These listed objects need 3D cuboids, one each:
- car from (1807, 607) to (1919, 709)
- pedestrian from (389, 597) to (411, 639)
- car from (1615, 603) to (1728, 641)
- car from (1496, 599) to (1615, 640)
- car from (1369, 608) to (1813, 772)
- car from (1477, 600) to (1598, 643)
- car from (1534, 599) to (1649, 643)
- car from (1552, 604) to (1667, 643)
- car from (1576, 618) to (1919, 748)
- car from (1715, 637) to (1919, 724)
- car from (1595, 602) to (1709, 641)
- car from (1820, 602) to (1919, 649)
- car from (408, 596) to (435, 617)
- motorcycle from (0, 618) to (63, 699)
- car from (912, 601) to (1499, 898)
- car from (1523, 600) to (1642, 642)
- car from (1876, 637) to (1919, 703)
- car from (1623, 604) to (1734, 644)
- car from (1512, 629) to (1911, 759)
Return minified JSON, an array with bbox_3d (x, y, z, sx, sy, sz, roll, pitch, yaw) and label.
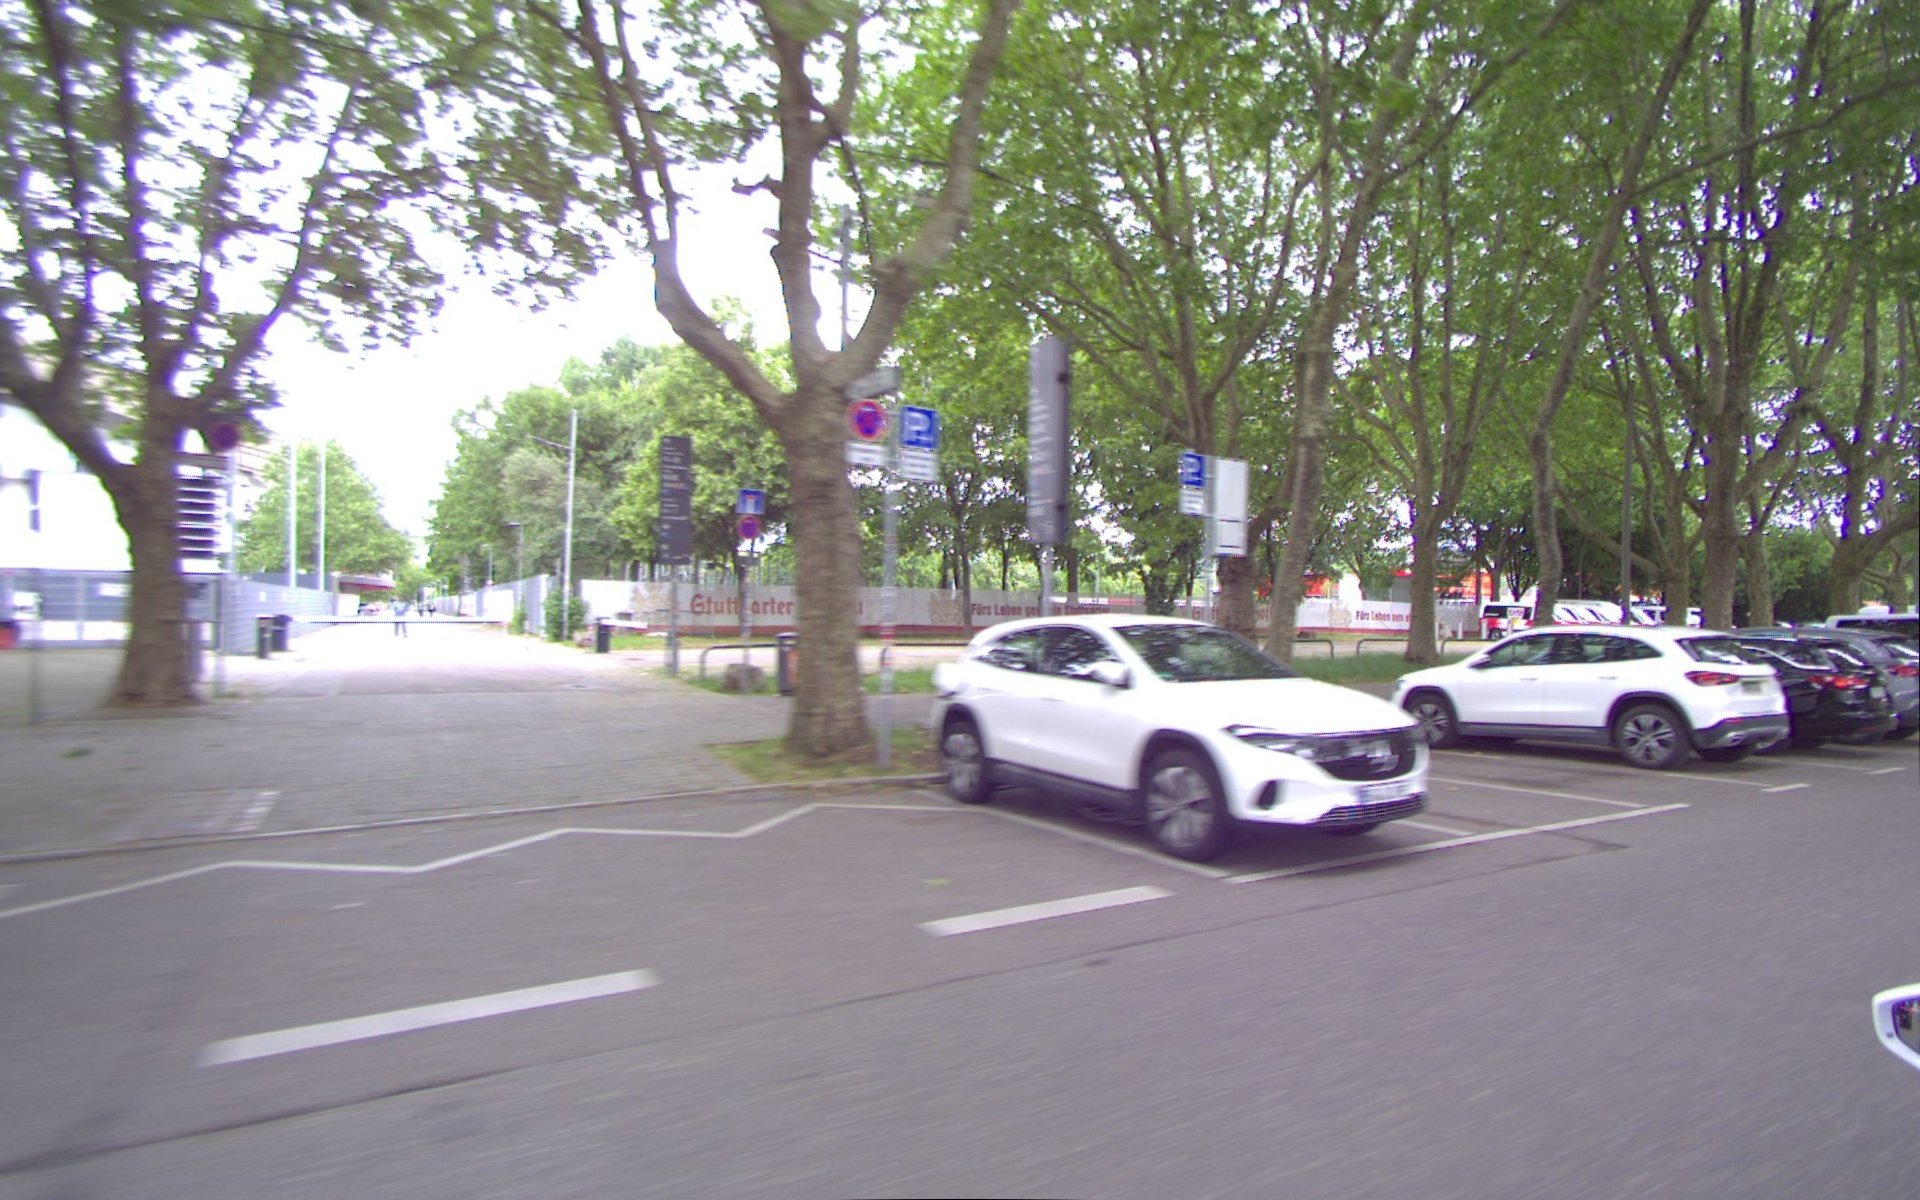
[{"bbox_3d":[20.506,1.169,20.275,1.897,2.045,4.870,1,-2,-31],"label":"car"},{"bbox_3d":[-23.829,0.776,42.749,0.756,1.748,0.655,1,1,-31],"label":"pedestrian"},{"bbox_3d":[48.277,1.436,68.290,1.977,2.336,5.972,1,0,-30],"label":"car"},{"bbox_3d":[35.853,1.121,60.662,1.977,2.283,5.972,1,0,-30],"label":"car"},{"bbox_3d":[7.682,1.043,12.707,1.978,1.689,4.318,1,-3,-32],"label":"car"},{"bbox_3d":[33.760,1.212,58.969,1.977,2.283,5.972,1,0,-30],"label":"car"},{"bbox_3d":[39.967,1.288,63.768,1.977,2.560,5.972,1,0,-30],"label":"car"},{"bbox_3d":[41.905,1.482,64.978,1.977,2.270,5.972,1,0,-30],"label":"car"},{"bbox_3d":[12.203,1.193,15.356,1.978,1.689,4.318,1,-3,-32],"label":"car"},{"bbox_3d":[15.925,1.367,17.600,1.664,1.431,3.966,1,-3,-32],"label":"car"},{"bbox_3d":[46.161,1.412,67.183,1.977,2.361,5.972,1,0,-30],"label":"car"},{"bbox_3d":[55.581,1.494,60.233,1.976,2.632,5.760,1,0,-29],"label":"car"},{"bbox_3d":[-55.535,0.701,103.528,2.168,1.926,4.656,0,-2,-31],"label":"car"},{"bbox_3d":[-14.330,0.860,15.170,0.730,1.157,1.650,1,-2,-27],"label":"motorcycle"},{"bbox_3d":[1.530,0.904,7.874,1.978,1.618,4.357,1,-2,-32],"label":"car"},{"bbox_3d":[38.138,1.225,61.749,1.977,2.349,5.972,1,0,-30],"label":"car"},{"bbox_3d":[22.989,1.527,21.683,1.754,1.471,4.427,1,-3,-31],"label":"car"},{"bbox_3d":[49.858,1.631,69.857,1.977,2.560,5.972,1,0,-30],"label":"car"},{"bbox_3d":[10.037,1.184,13.732,1.822,1.495,3.966,1,-3,-32],"label":"car"}]
